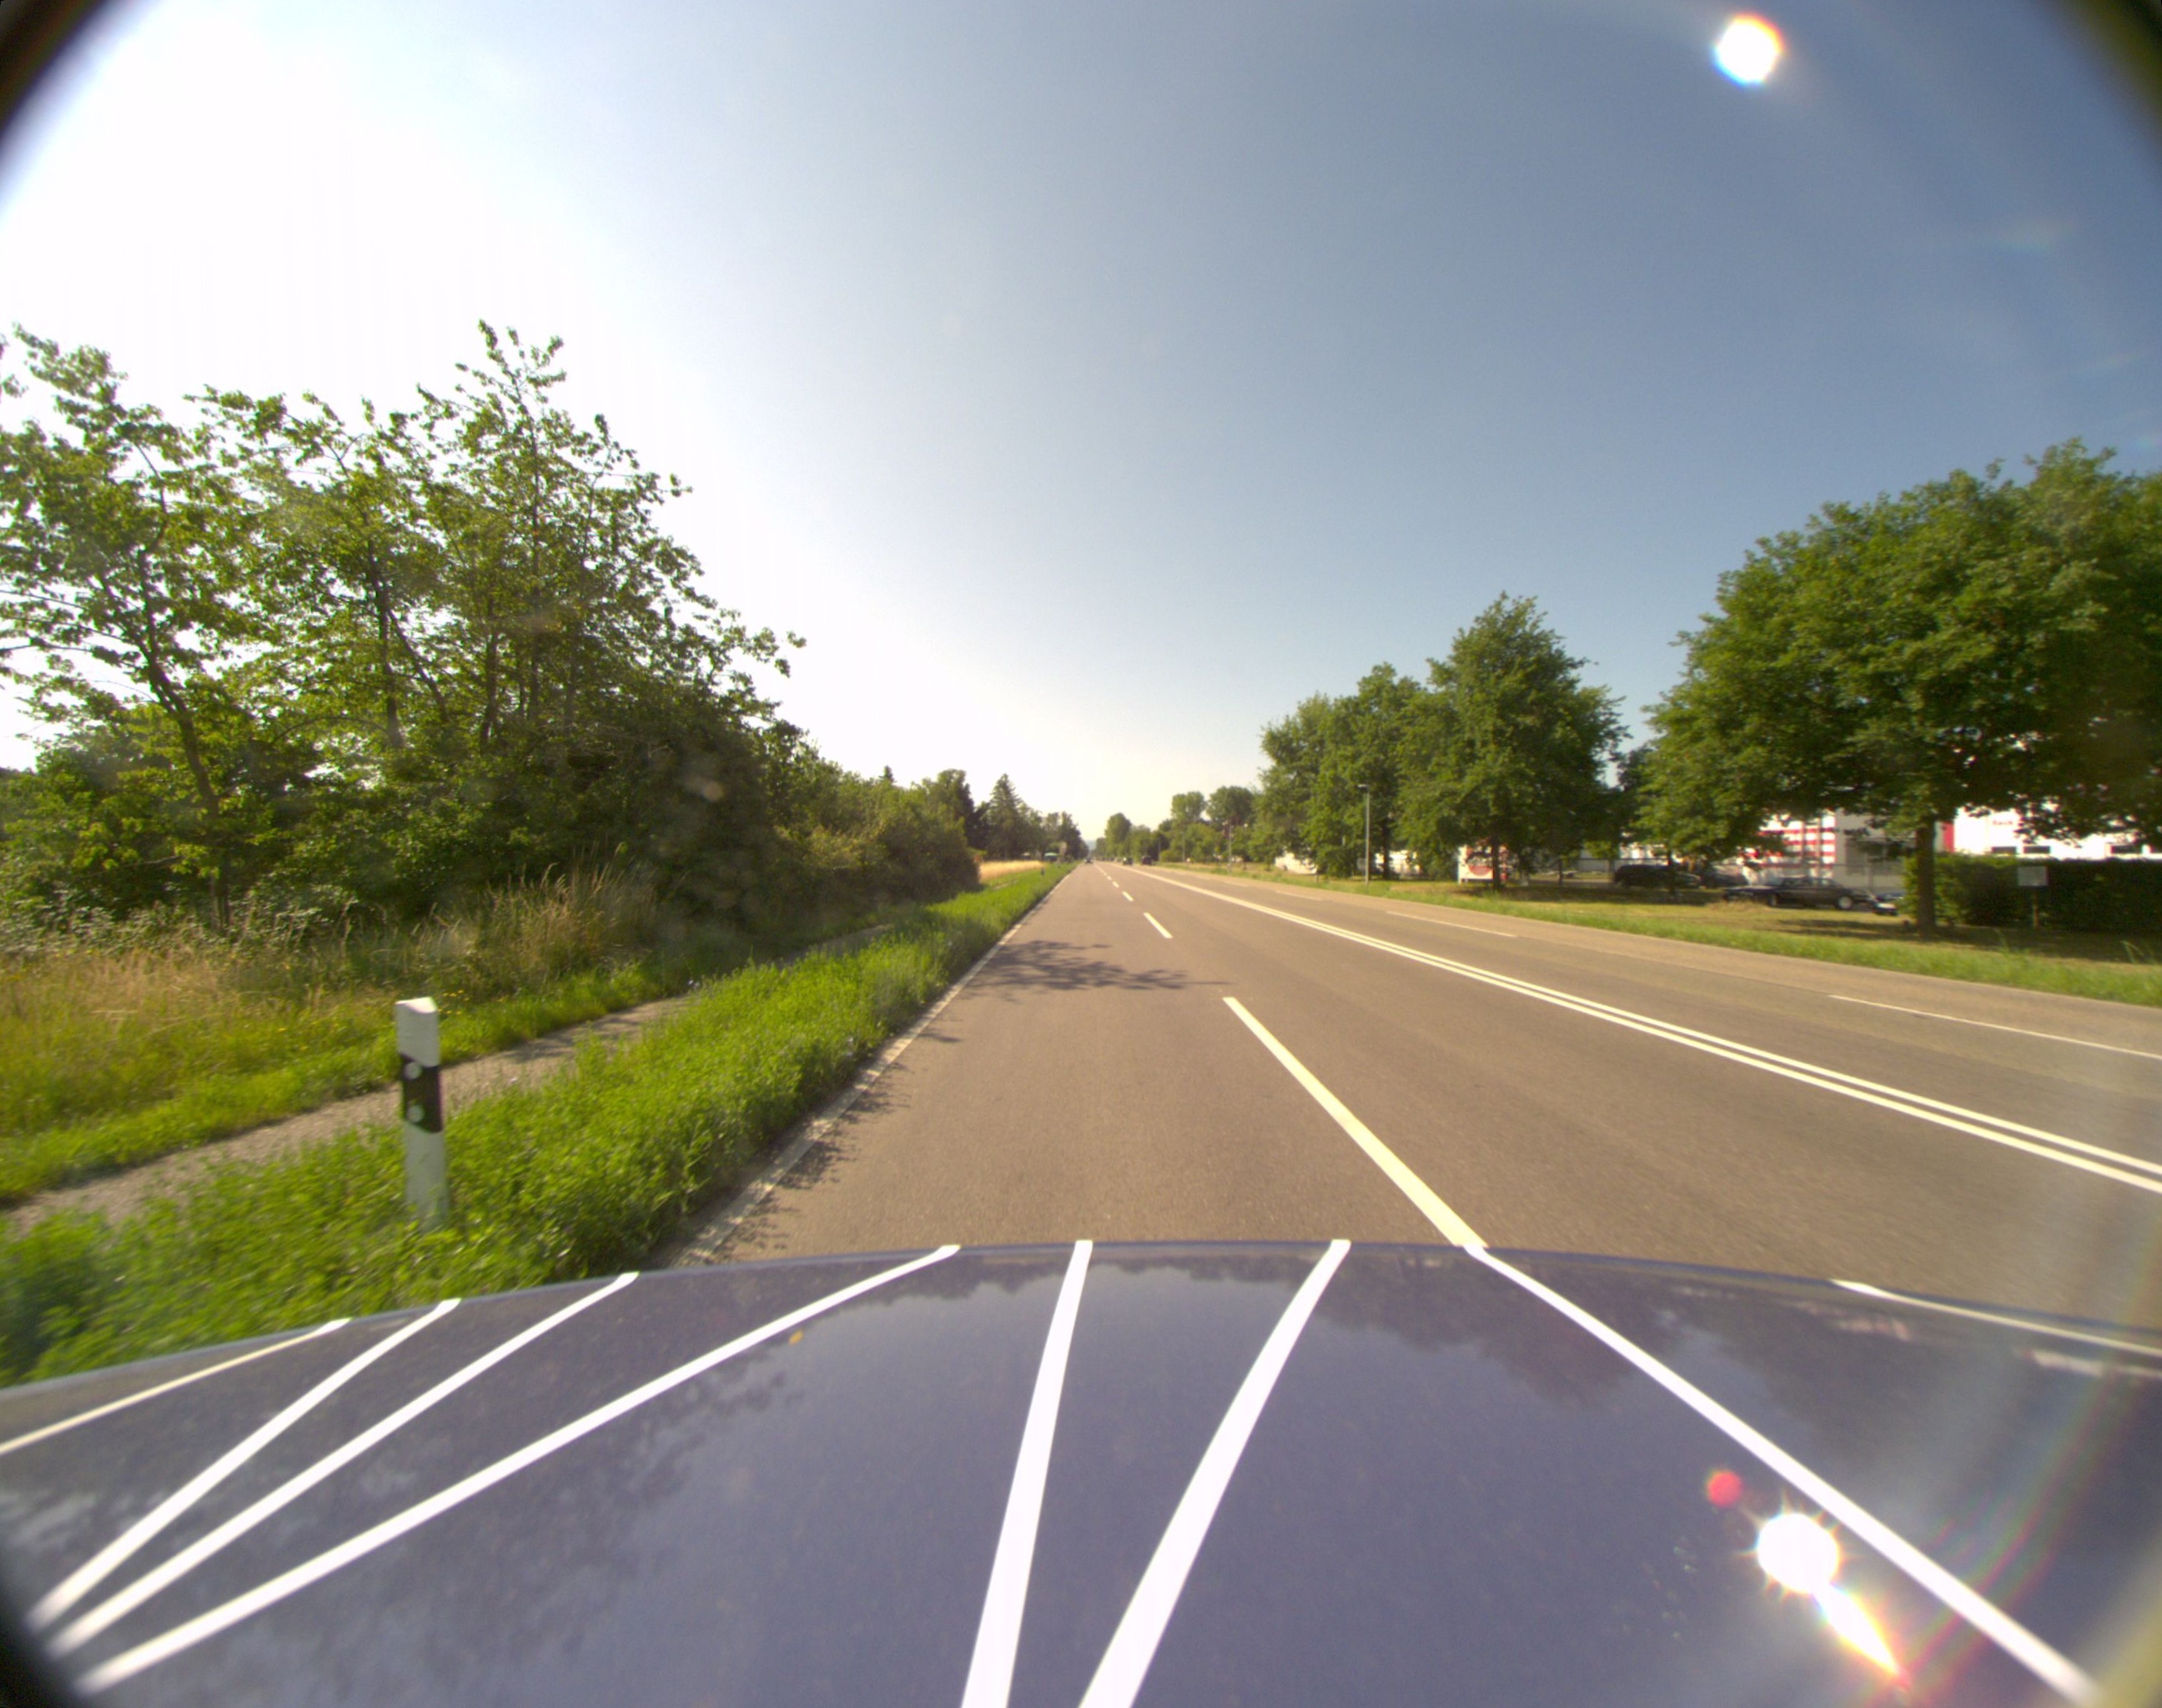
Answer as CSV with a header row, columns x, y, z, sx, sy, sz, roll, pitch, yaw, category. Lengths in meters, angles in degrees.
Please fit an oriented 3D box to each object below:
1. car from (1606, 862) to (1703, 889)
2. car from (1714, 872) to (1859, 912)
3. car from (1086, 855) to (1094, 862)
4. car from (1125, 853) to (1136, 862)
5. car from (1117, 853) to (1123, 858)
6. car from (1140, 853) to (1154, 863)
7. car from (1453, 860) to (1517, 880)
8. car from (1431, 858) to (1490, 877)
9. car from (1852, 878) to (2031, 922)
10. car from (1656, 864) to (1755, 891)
x,y,z,sx,sy,sz,roll,pitch,yaw,category
32.031,1.174,42.615,1.792,1.341,4.662,1,0,-2,car
29.989,1.597,32.407,4.361,1.318,1.857,3,1,0,car
1.976,0.925,166.136,1.768,1.403,4.001,0,-1,1,car
8.305,0.658,128.043,1.520,1.442,3.775,2,0,0,car
12.492,0.452,241.526,1.663,1.429,3.735,2,0,0,car
11.352,0.616,130.817,1.830,1.662,4.389,2,0,-1,car
31.161,1.204,58.647,3.997,1.492,1.757,0,0,0,car
31.293,1.096,62.738,3.997,1.492,1.757,0,0,0,car
29.734,1.563,26.346,3.996,1.298,1.863,2,0,1,car
35.990,1.333,43.991,1.792,1.341,4.662,1,0,-2,car
